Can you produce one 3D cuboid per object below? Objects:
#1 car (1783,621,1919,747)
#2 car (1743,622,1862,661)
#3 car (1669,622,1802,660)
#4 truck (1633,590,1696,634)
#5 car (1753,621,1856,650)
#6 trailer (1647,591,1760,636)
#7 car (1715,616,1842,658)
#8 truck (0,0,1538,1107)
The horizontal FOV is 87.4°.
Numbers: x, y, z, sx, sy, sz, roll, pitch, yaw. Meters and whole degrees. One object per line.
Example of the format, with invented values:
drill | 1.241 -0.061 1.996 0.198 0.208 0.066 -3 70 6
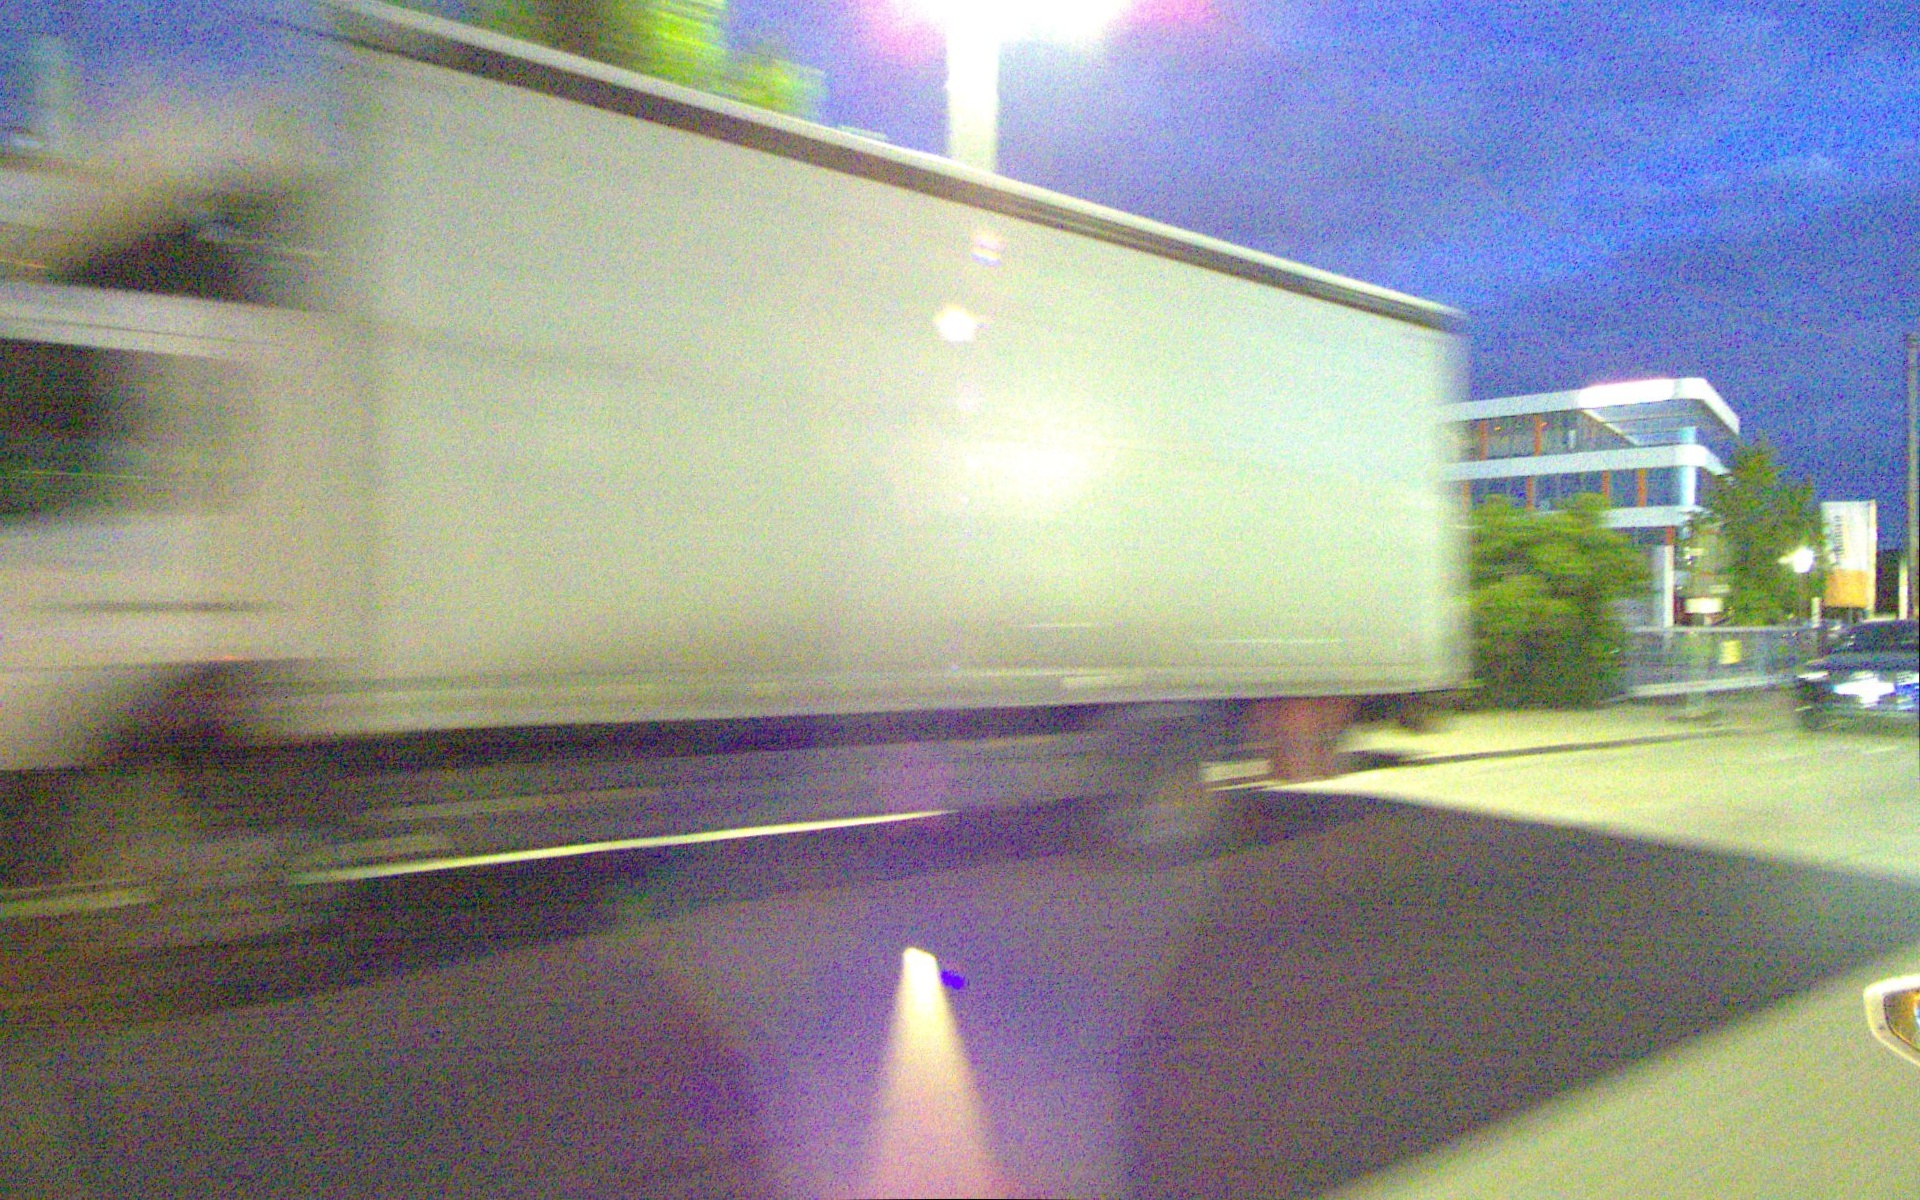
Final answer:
car | 15.168 1.219 15.869 5.143 1.740 1.932 1 -1 -33
car | 41.569 2.019 49.632 4.359 1.840 1.950 -1 -2 45
car | 33.464 1.735 43.423 4.359 1.502 1.880 0 -1 45
truck | 68.934 1.194 98.305 4.873 4.204 3.046 1 0 -28
car | 47.985 1.998 57.137 4.359 1.498 1.839 0 -1 45
trailer | 75.448 1.404 101.778 14.813 4.204 3.046 1 0 -28
car | 39.070 1.737 48.041 4.560 1.840 1.950 0 -1 45
truck | -0.423 -0.351 6.321 9.450 4.086 2.733 1 -3 -31
